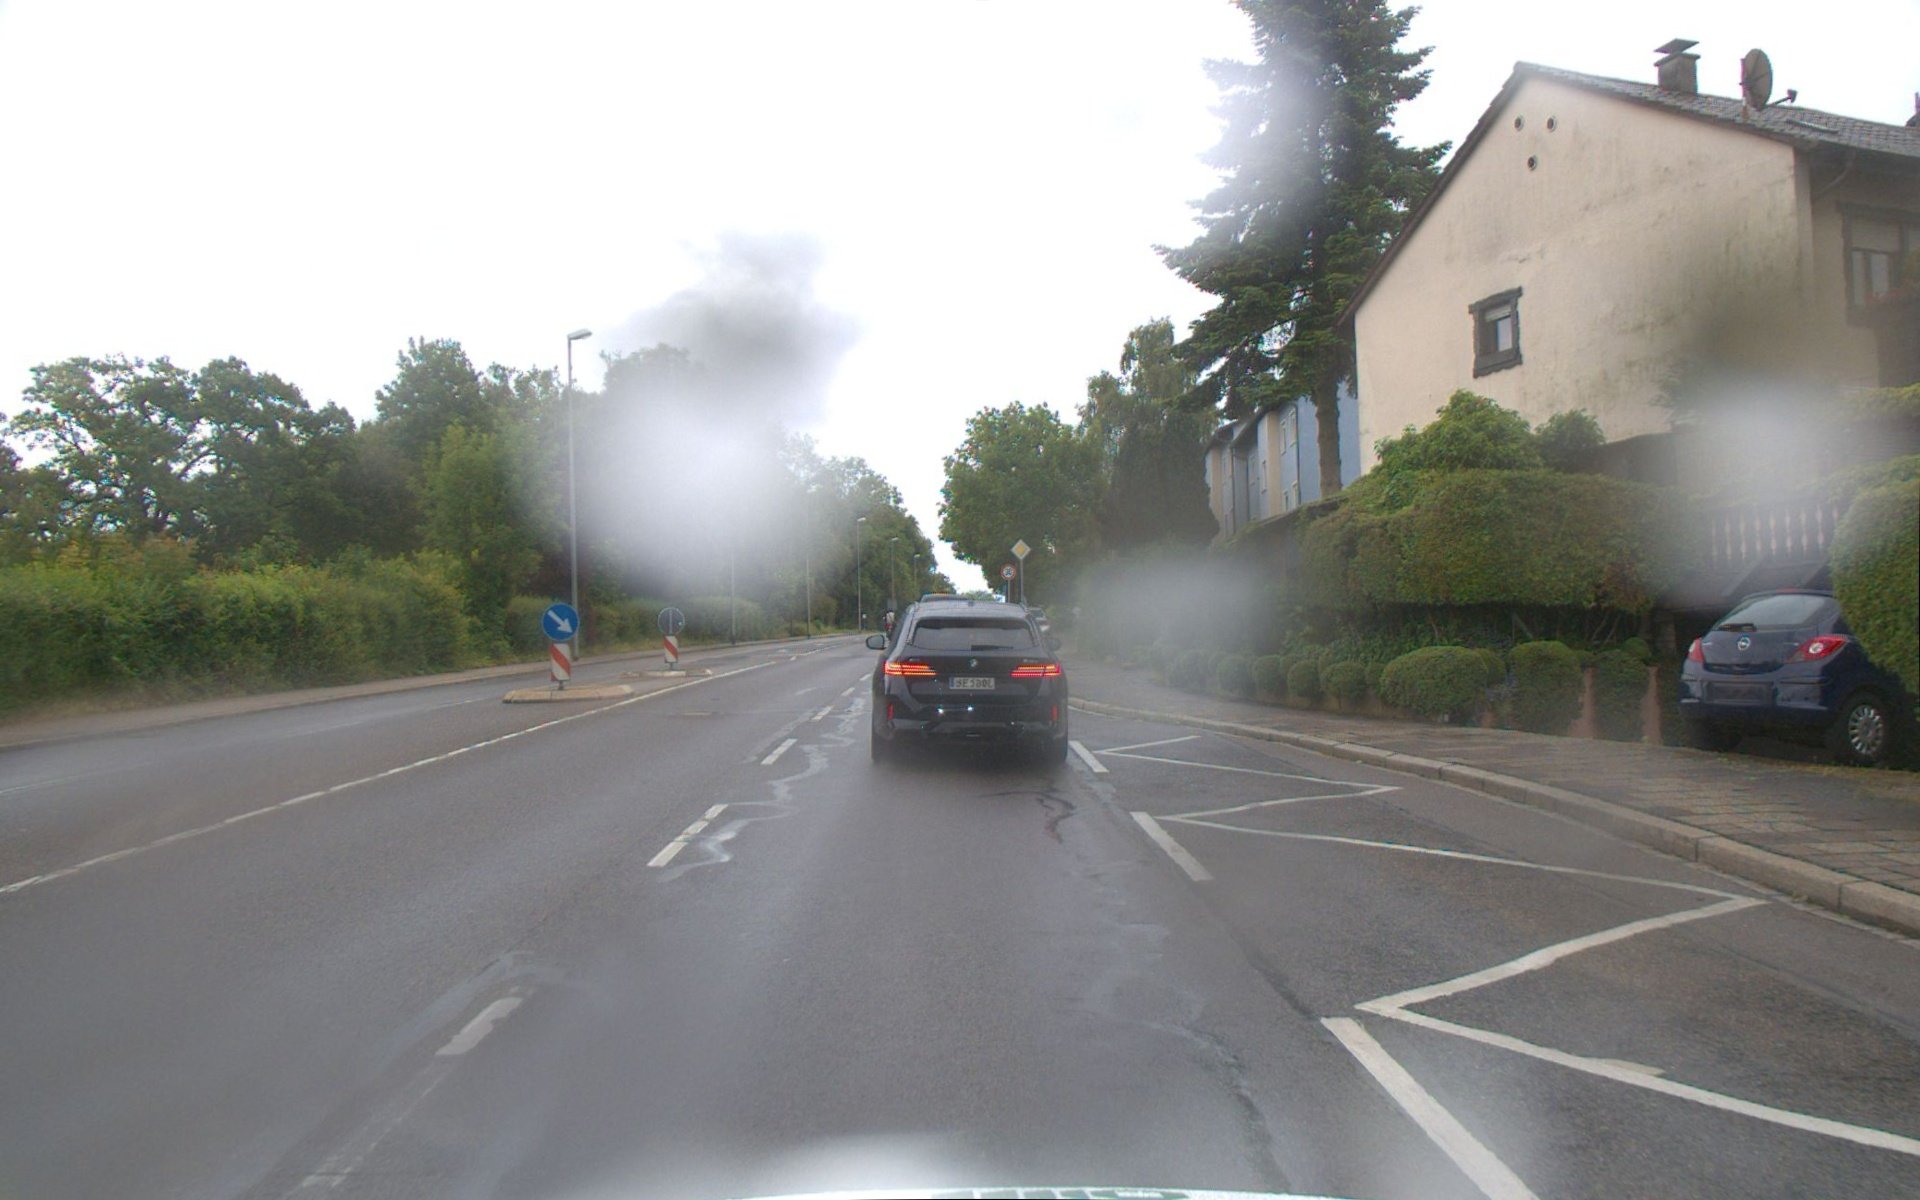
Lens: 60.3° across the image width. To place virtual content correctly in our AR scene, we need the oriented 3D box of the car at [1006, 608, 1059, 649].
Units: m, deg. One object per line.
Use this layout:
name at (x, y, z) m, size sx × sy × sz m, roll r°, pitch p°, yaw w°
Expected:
car at (2.680, 1.047, 62.060) m, size 1.895 × 1.467 × 4.408 m, roll -1°, pitch 0°, yaw 2°

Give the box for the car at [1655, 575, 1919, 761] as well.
car at (8.169, 0.687, 14.453) m, size 3.644 × 1.320 × 1.761 m, roll 7°, pitch -4°, yaw -21°

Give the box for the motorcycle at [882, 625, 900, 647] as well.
motorcycle at (-3.574, 1.867, 86.378) m, size 0.858 × 1.144 × 2.740 m, roll 1°, pitch -1°, yaw -1°

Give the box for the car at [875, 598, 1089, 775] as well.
car at (0.197, 0.772, 16.506) m, size 1.858 × 1.515 × 4.000 m, roll 1°, pitch 0°, yaw 0°

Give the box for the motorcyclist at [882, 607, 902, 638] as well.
motorcyclist at (-3.560, 1.191, 86.512) m, size 1.018 × 1.595 × 0.855 m, roll 1°, pitch -1°, yaw -1°

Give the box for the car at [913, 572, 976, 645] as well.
car at (-0.440, 0.227, 45.312) m, size 1.596 × 1.865 × 3.999 m, roll -2°, pitch 0°, yaw -1°
